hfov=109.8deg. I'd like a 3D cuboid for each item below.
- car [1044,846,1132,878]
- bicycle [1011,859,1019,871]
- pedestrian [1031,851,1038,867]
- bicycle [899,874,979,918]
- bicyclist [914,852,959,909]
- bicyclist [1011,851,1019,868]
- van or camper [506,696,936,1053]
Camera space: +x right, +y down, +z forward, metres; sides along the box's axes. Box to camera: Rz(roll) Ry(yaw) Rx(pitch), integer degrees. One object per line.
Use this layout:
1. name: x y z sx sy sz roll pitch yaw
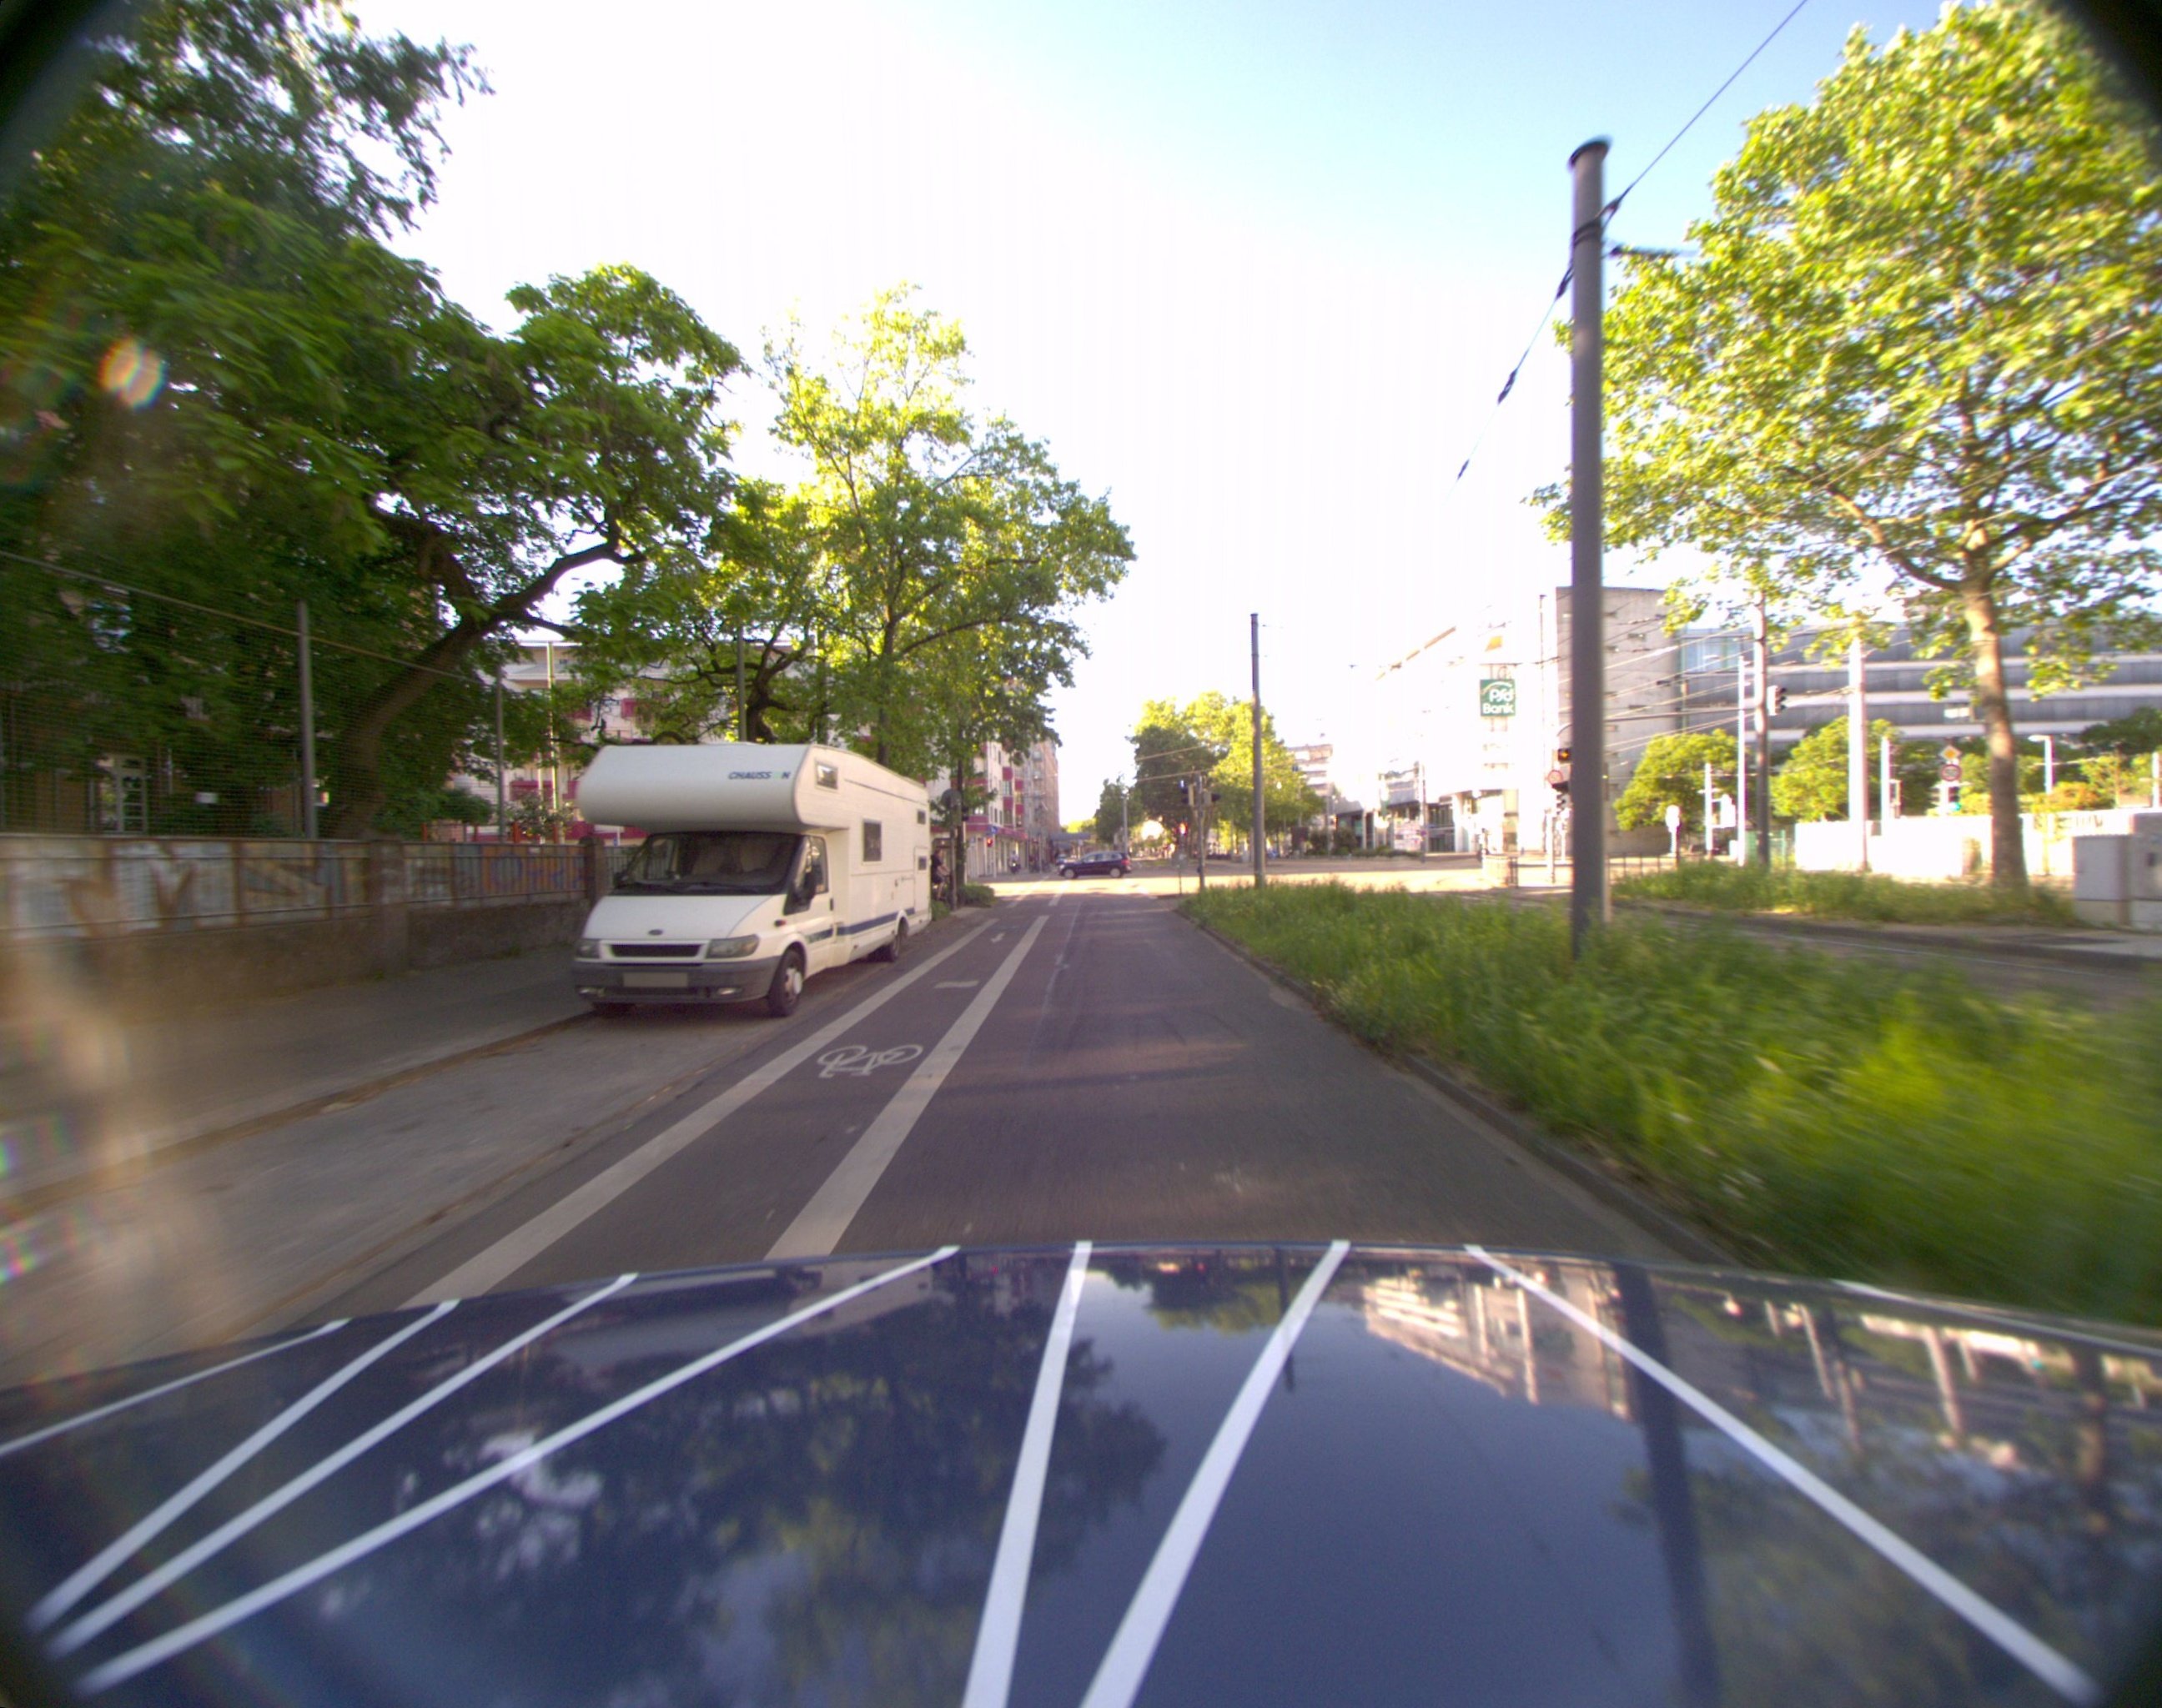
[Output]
1. car: 0.481 0.464 46.339 5.075 1.695 1.914 -2 1 9
2. bicycle: -5.230 0.881 60.222 0.566 0.872 1.717 -2 1 -2
3. pedestrian: -5.184 0.594 84.586 0.621 1.771 0.686 -2 1 1
4. bicycle: -4.070 1.186 21.892 2.087 1.122 0.758 -3 1 -30
5. bicyclist: -4.154 0.735 21.851 1.009 1.567 0.758 -3 1 -30
6. bicyclist: -5.245 0.441 60.270 0.550 1.333 0.616 -2 1 -2
7. van or camper: -3.817 0.165 10.237 2.172 3.075 7.289 -1 0 1
